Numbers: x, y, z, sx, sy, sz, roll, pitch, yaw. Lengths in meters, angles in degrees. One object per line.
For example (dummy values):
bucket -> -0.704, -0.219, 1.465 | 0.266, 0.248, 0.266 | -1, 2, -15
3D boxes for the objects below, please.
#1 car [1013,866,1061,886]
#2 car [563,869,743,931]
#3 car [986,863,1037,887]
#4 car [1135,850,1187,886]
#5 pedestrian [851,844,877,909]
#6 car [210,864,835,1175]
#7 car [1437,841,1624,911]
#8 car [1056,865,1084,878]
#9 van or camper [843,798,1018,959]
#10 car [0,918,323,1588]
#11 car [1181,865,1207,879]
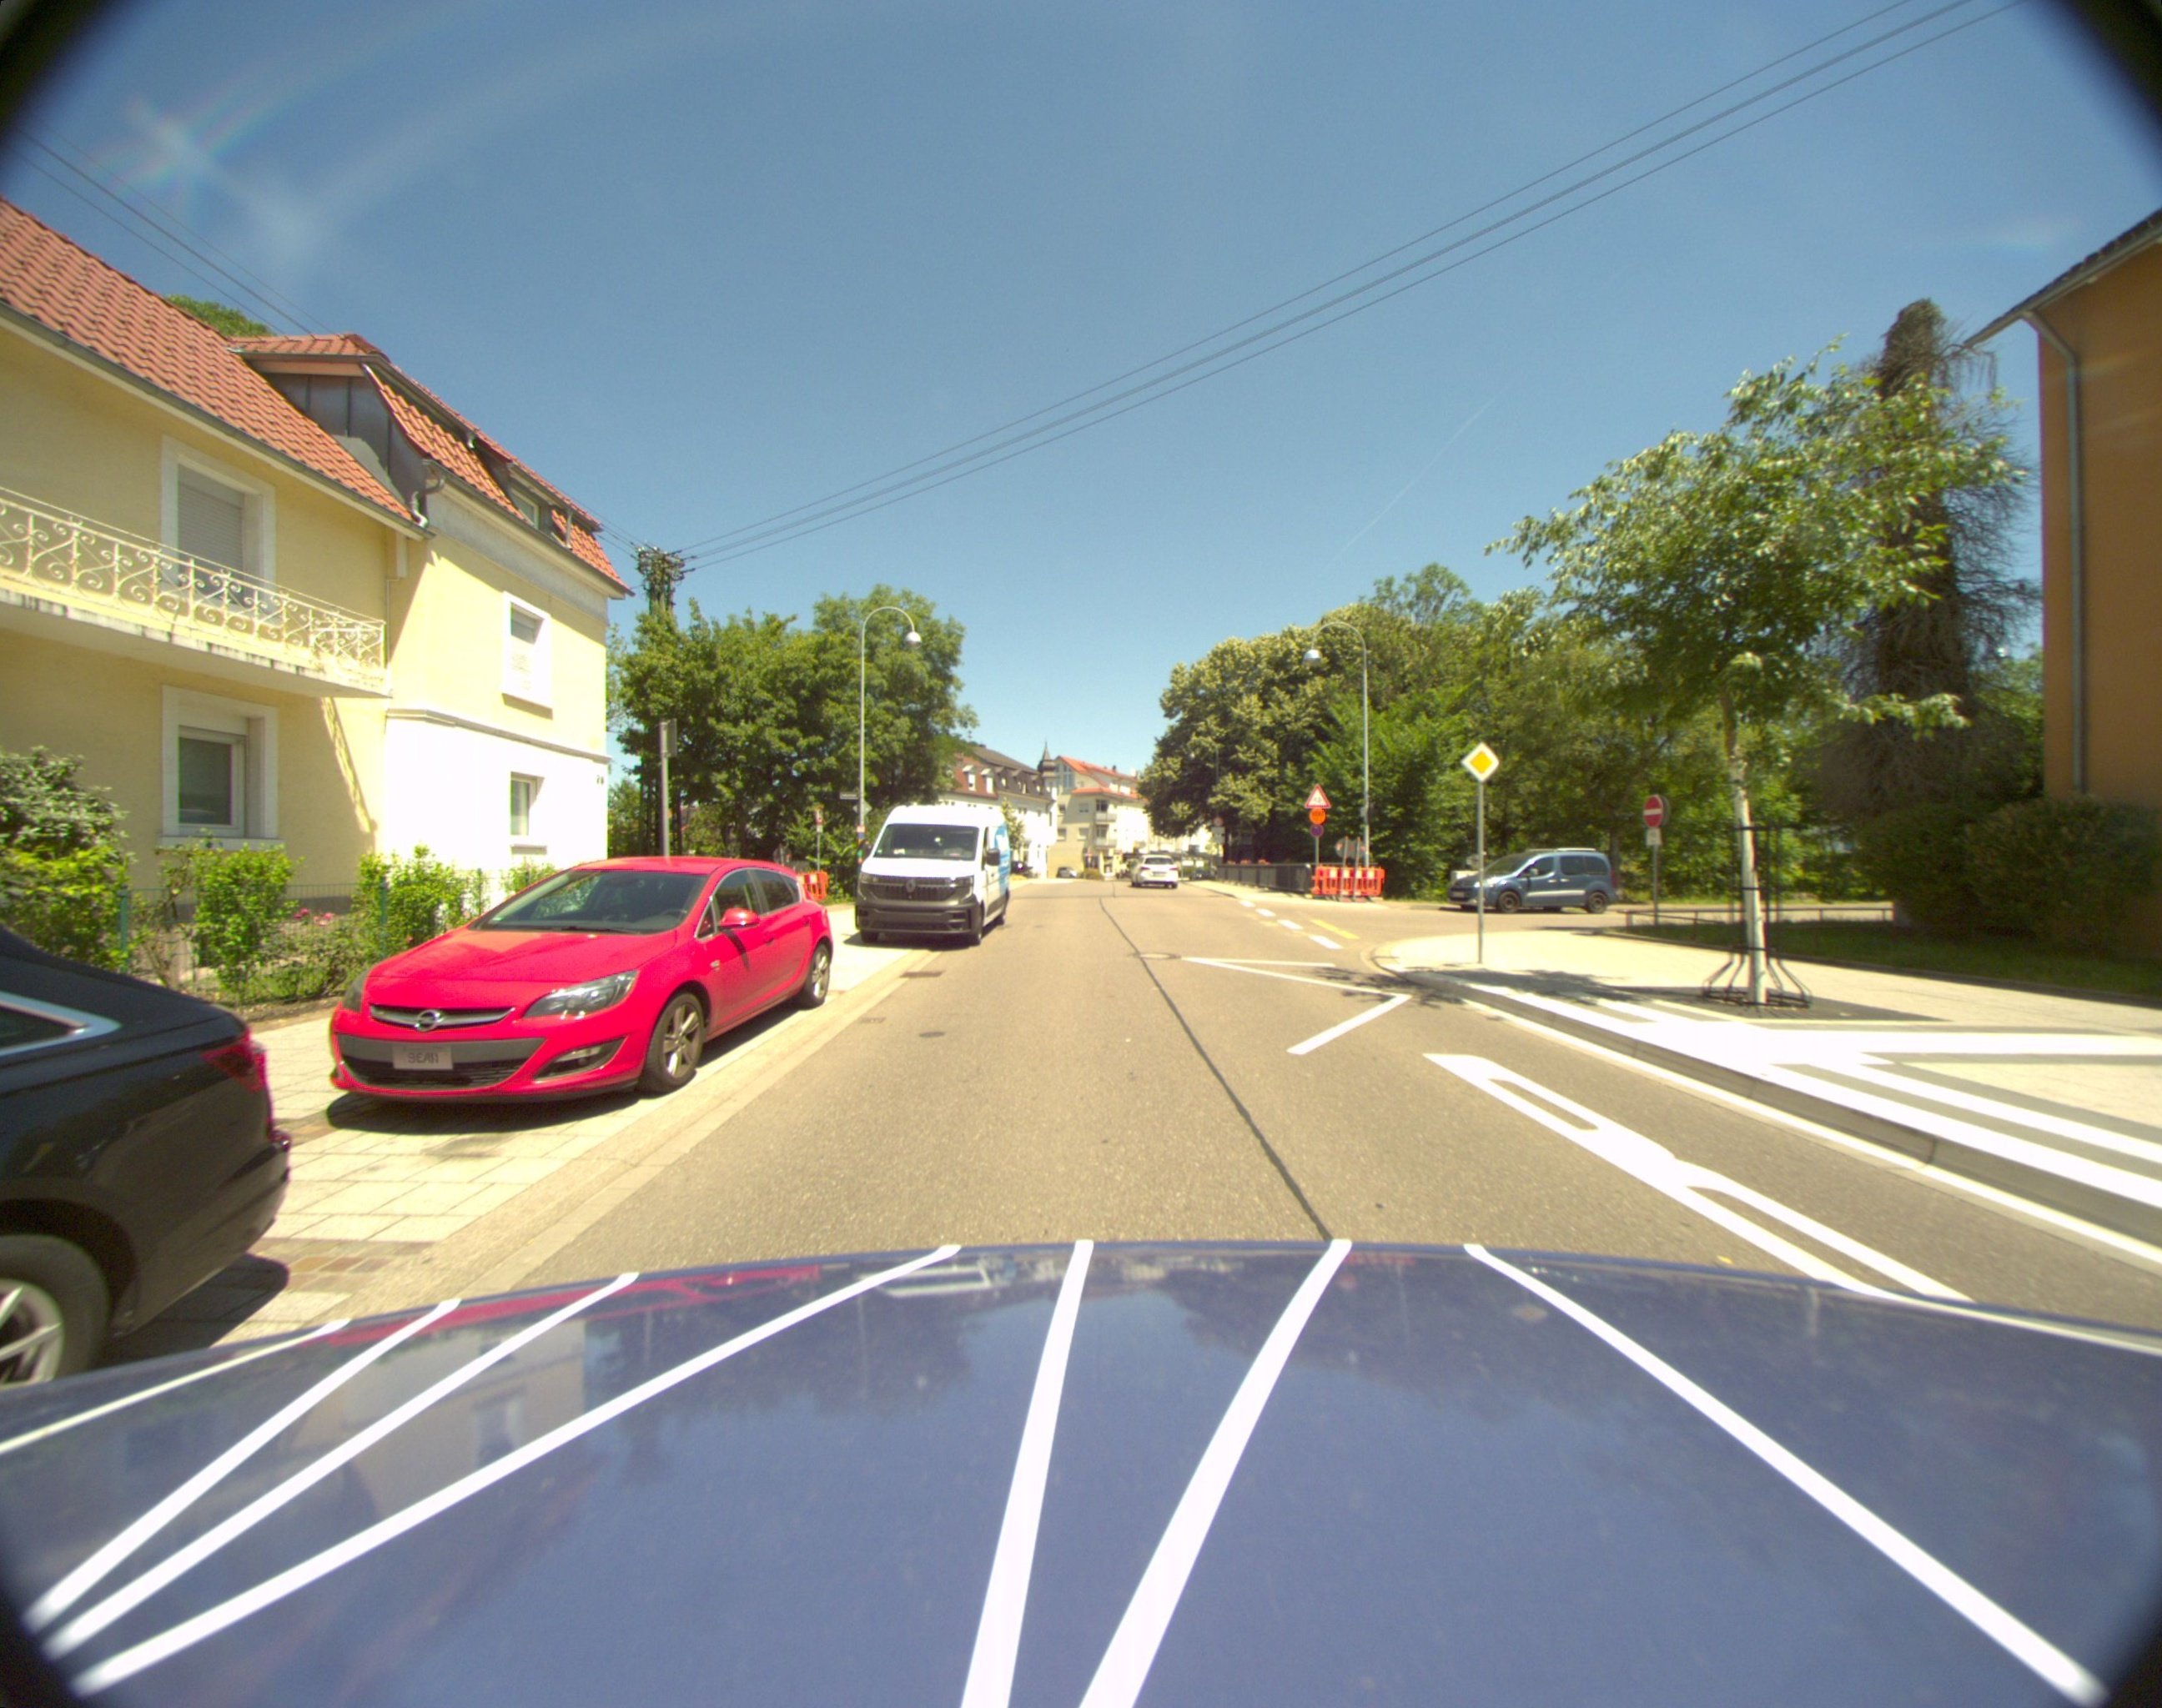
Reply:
car -> -4.073, 2.050, 70.451 | 3.990, 1.660, 2.004 | -2, -1, 27
car -> -12.532, 1.325, 22.359 | 4.399, 1.458, 1.646 | -4, 0, 7
car -> -6.219, 1.860, 67.916 | 3.990, 2.002, 2.003 | -2, 0, 26
car -> 3.522, 0.621, 34.190 | 1.998, 1.498, 4.289 | 0, 0, 2
pedestrian -> -5.809, 0.587, 20.328 | 0.522, 1.696, 0.803 | 3, 0, -20
car -> -3.477, 0.861, 5.900 | 1.808, 1.521, 4.150 | 0, 0, 0
car -> 12.630, 0.645, 21.462 | 4.439, 1.862, 1.818 | 1, -2, -10
car -> -1.350, 2.119, 93.286 | 3.038, 1.444, 1.570 | -2, 0, 22
van or camper -> -2.596, 0.342, 14.904 | 2.113, 2.453, 6.176 | 1, 1, 0
car -> -3.394, 0.945, 0.111 | 1.808, 1.466, 4.720 | 3, 0, 0
car -> 14.889, 2.377, 100.360 | 2.001, 1.705, 3.995 | 2, -2, -16
